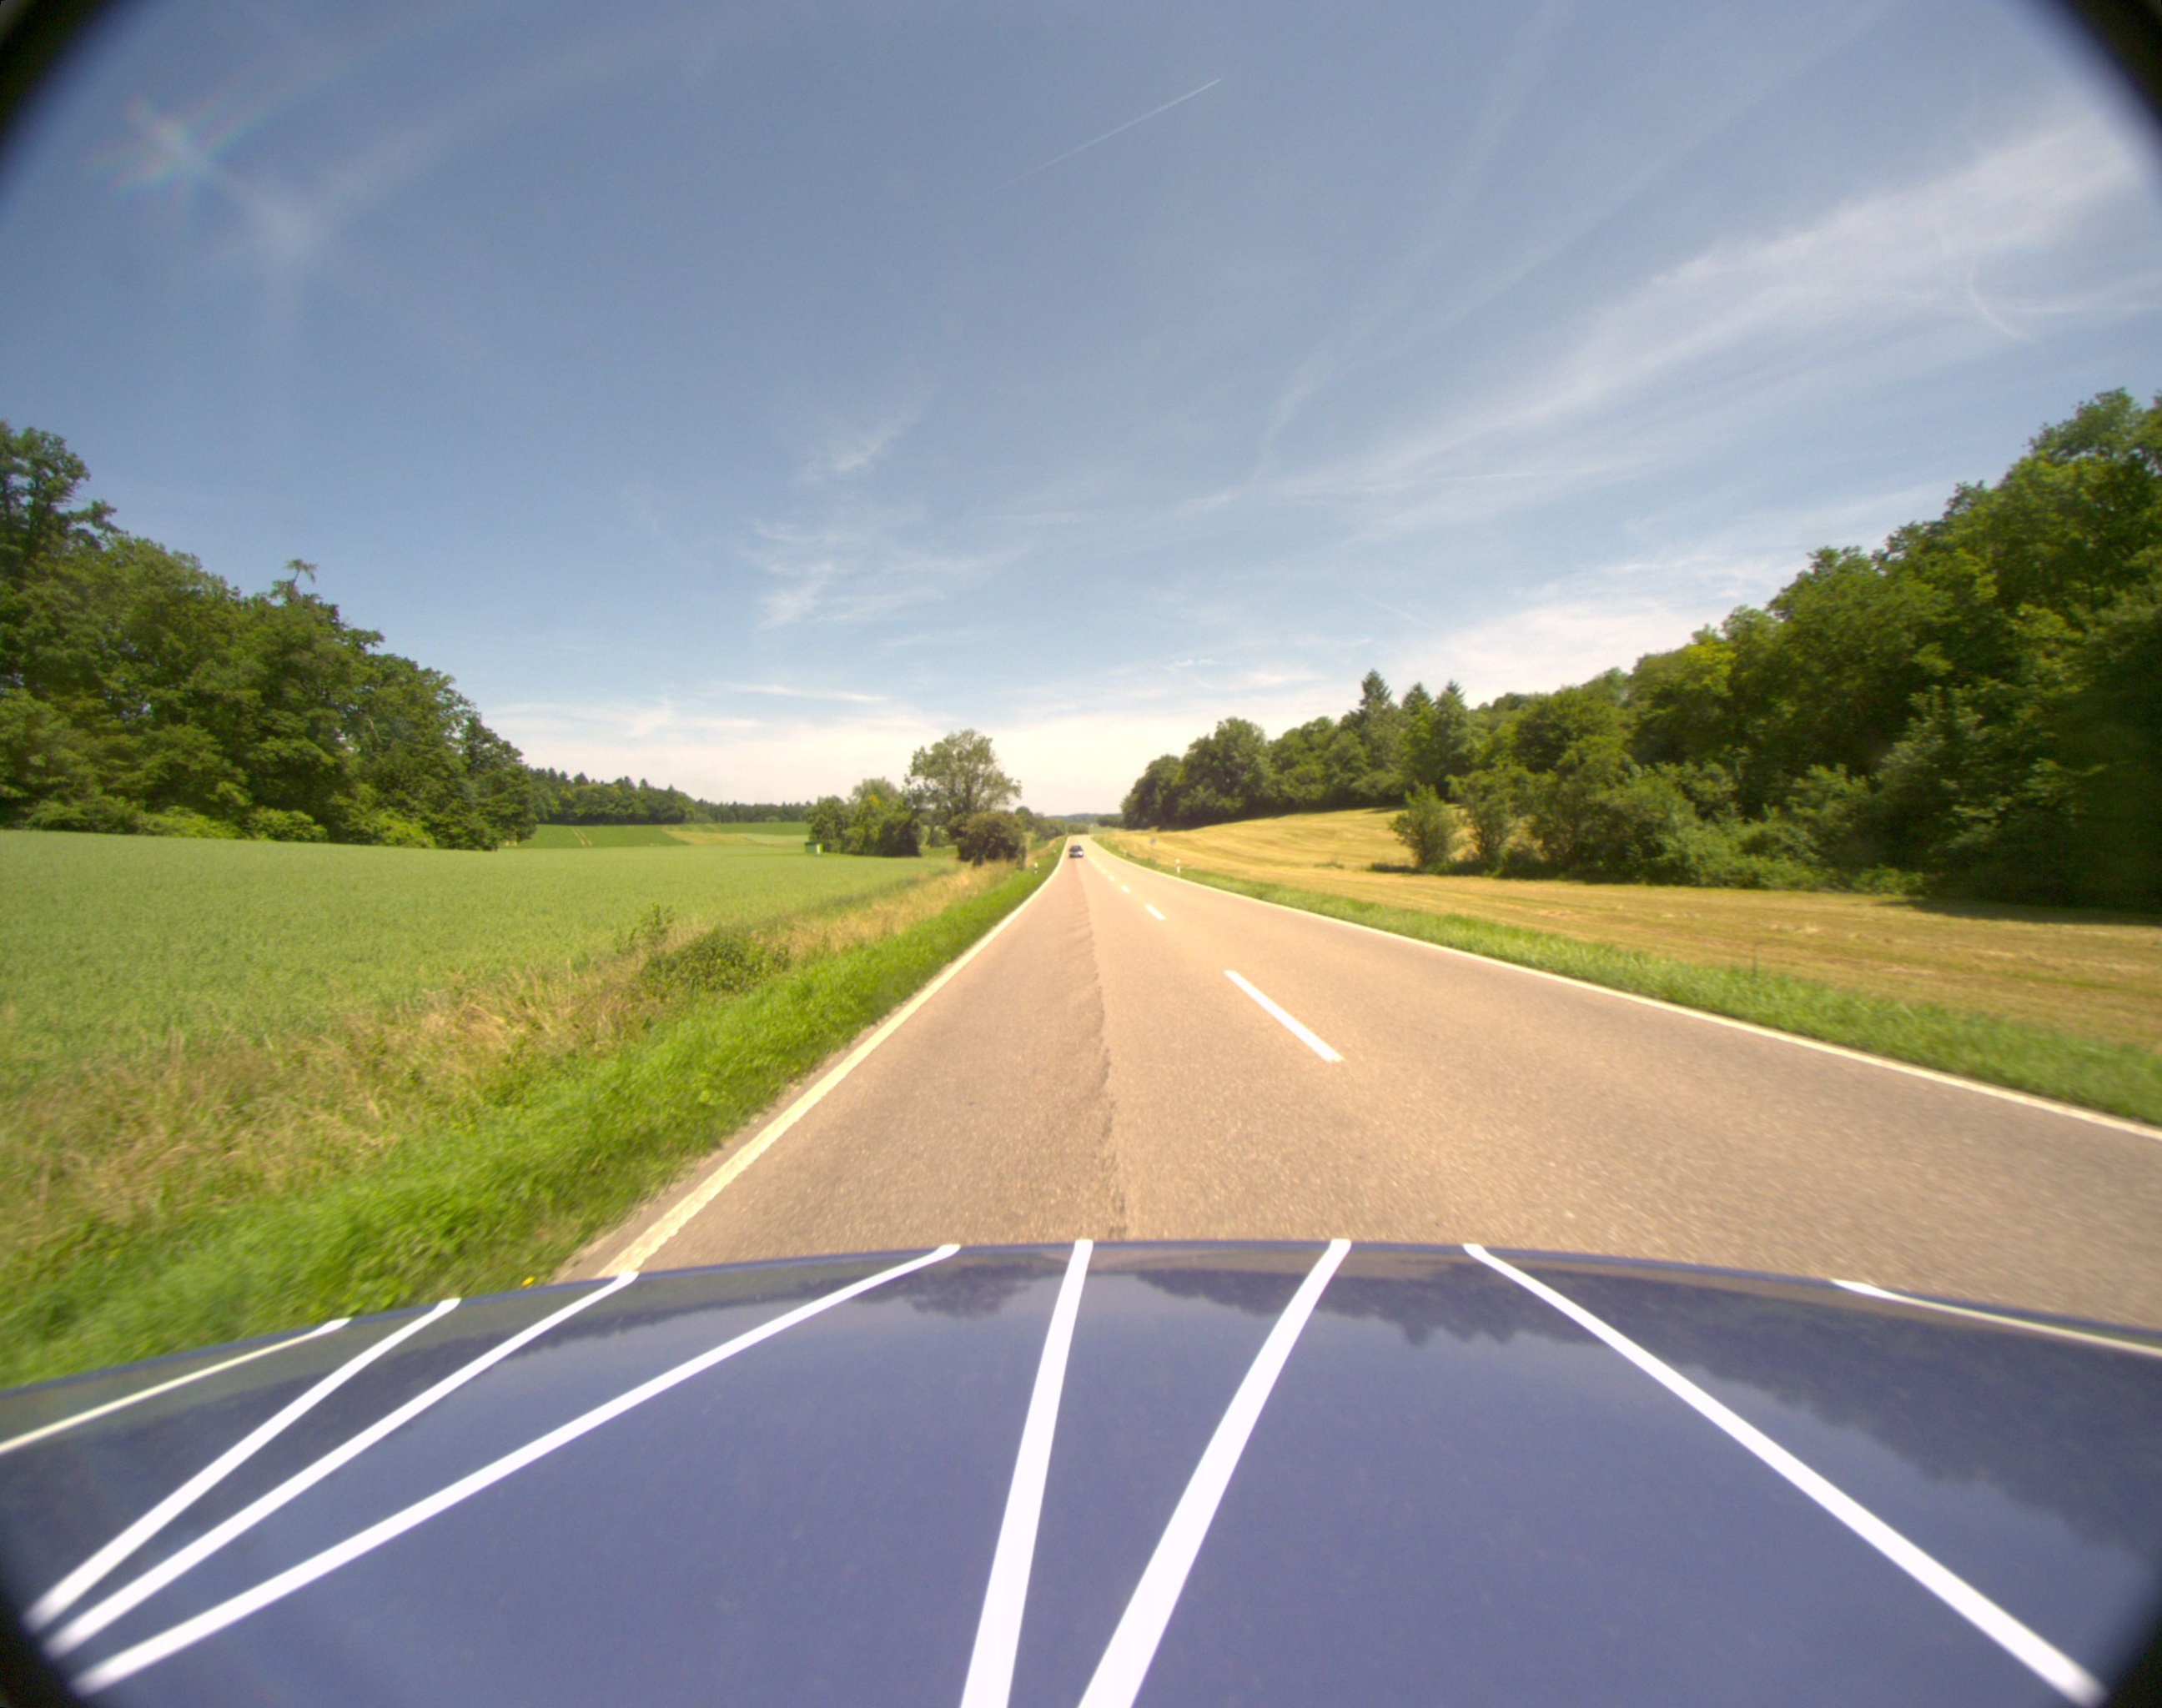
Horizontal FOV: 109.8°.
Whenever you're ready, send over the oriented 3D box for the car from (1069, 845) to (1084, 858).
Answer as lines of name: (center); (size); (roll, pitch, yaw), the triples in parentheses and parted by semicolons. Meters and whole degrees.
car: (-0.566, -0.285, 98.728); (1.816, 1.569, 4.154); (-2, -1, 0)
